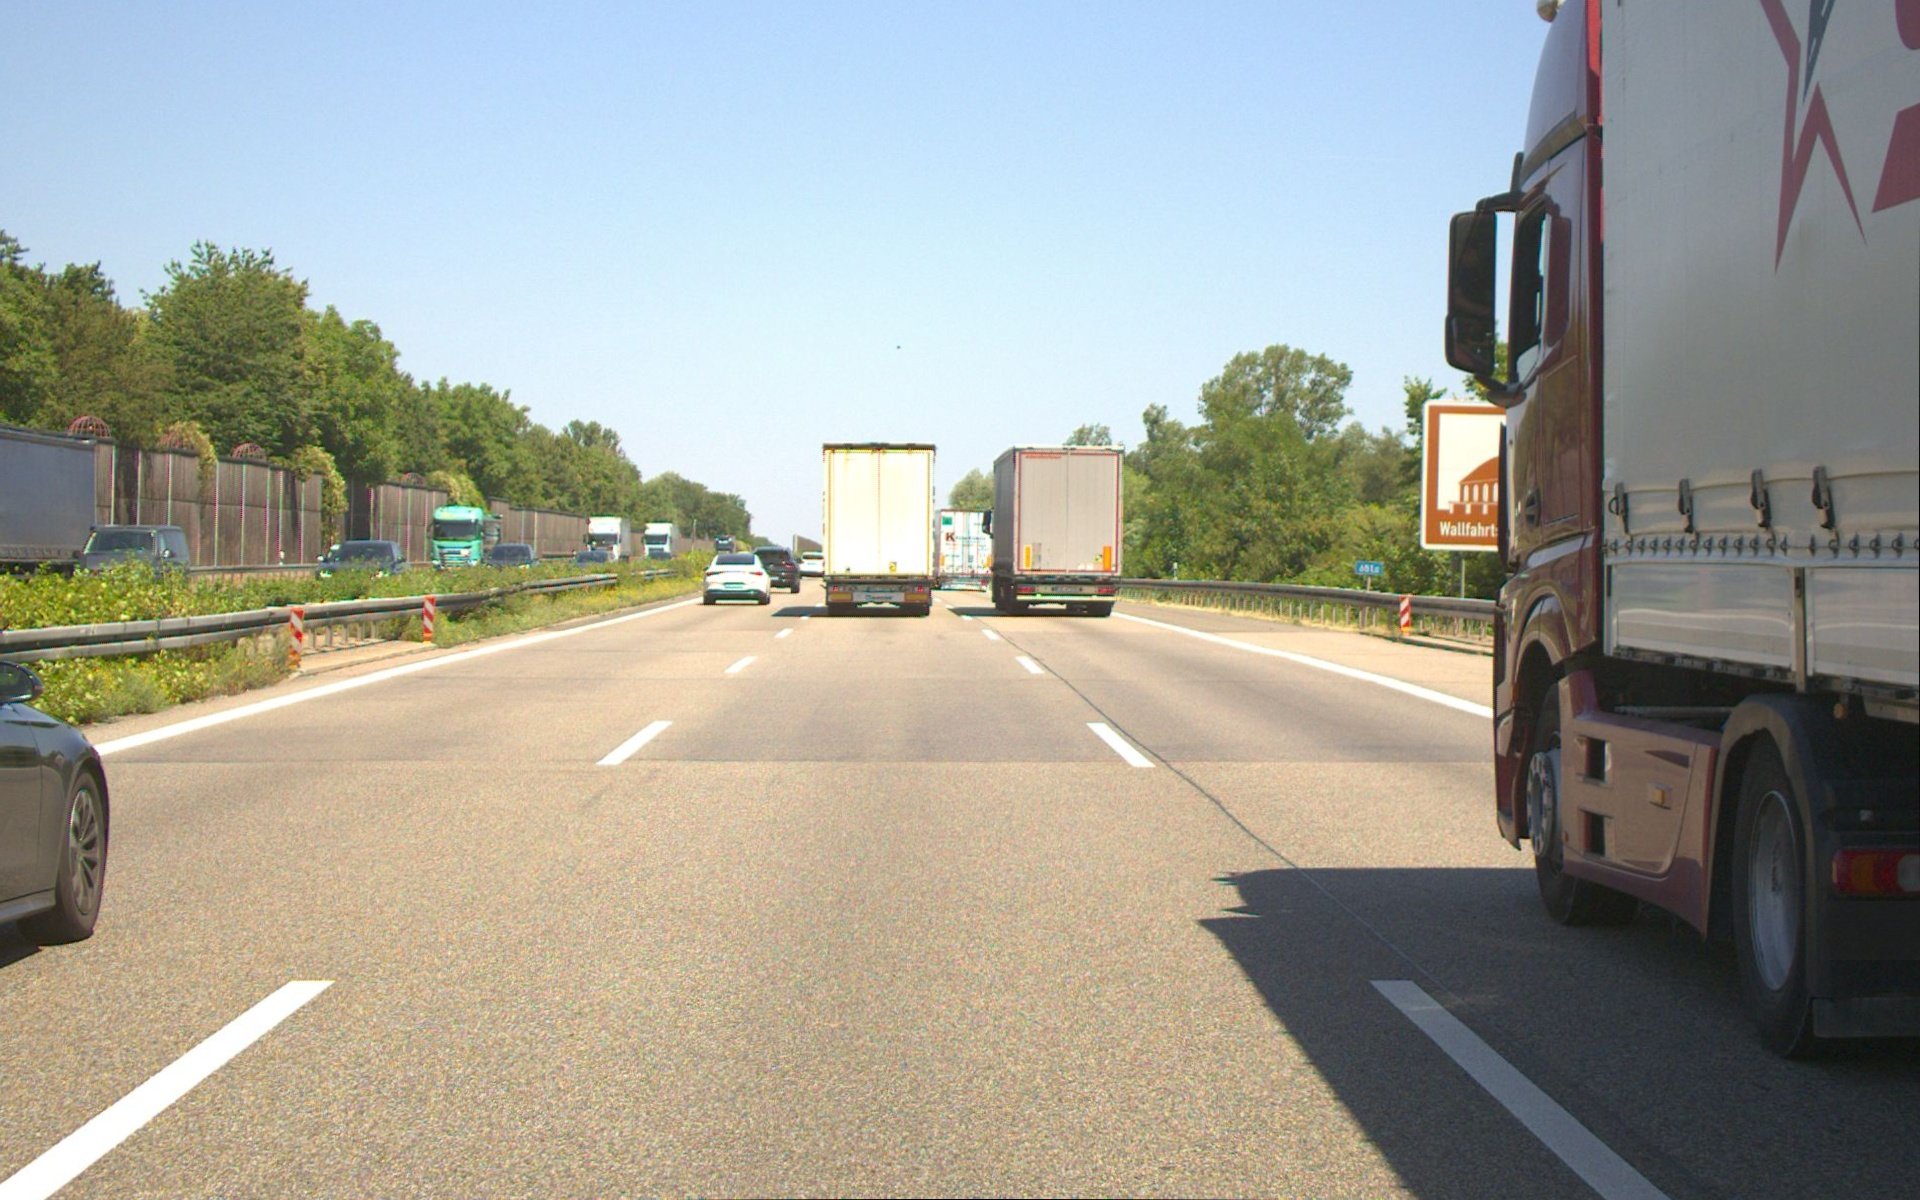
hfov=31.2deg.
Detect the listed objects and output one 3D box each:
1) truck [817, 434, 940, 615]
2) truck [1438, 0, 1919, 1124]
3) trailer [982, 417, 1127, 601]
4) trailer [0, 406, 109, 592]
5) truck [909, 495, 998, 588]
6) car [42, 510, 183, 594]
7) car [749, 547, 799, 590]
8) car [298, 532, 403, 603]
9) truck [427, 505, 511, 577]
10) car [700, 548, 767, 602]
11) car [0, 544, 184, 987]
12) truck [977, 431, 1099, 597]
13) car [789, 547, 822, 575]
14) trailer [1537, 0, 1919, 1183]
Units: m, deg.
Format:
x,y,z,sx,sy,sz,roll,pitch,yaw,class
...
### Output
x,y,z,sx,sy,sz,roll,pitch,yaw,class
-2.110,-1.804,85.213,2.706,4.072,13.475,1,1,-2,truck
3.578,-0.736,12.229,2.707,4.074,6.965,1,1,0,truck
2.233,-2.192,86.391,2.703,4.201,13.213,1,1,-2,trailer
-22.302,-2.246,77.907,2.496,4.073,14.271,0,1,0,trailer
-0.408,-2.943,172.479,3.373,4.289,11.452,4,1,-5,truck
-19.074,-1.084,77.612,1.993,1.809,5.220,1,1,-1,car
-6.995,-1.199,129.708,1.855,1.611,4.001,0,1,-3,car
-15.337,-0.826,86.690,1.993,1.714,4.246,1,1,-1,car
-26.000,-3.137,182.679,3.089,3.663,12.369,1,1,-2,truck
-6.490,-0.735,98.746,1.855,1.481,4.001,0,1,-3,car
-4.245,0.564,11.712,1.943,1.501,5.821,0,1,-1,car
2.018,-2.269,92.272,2.691,4.201,7.839,1,1,-2,truck
-9.308,-2.364,207.042,1.855,1.611,4.001,0,1,-4,car
3.644,-0.628,5.936,2.707,4.074,14.152,1,1,-1,trailer
